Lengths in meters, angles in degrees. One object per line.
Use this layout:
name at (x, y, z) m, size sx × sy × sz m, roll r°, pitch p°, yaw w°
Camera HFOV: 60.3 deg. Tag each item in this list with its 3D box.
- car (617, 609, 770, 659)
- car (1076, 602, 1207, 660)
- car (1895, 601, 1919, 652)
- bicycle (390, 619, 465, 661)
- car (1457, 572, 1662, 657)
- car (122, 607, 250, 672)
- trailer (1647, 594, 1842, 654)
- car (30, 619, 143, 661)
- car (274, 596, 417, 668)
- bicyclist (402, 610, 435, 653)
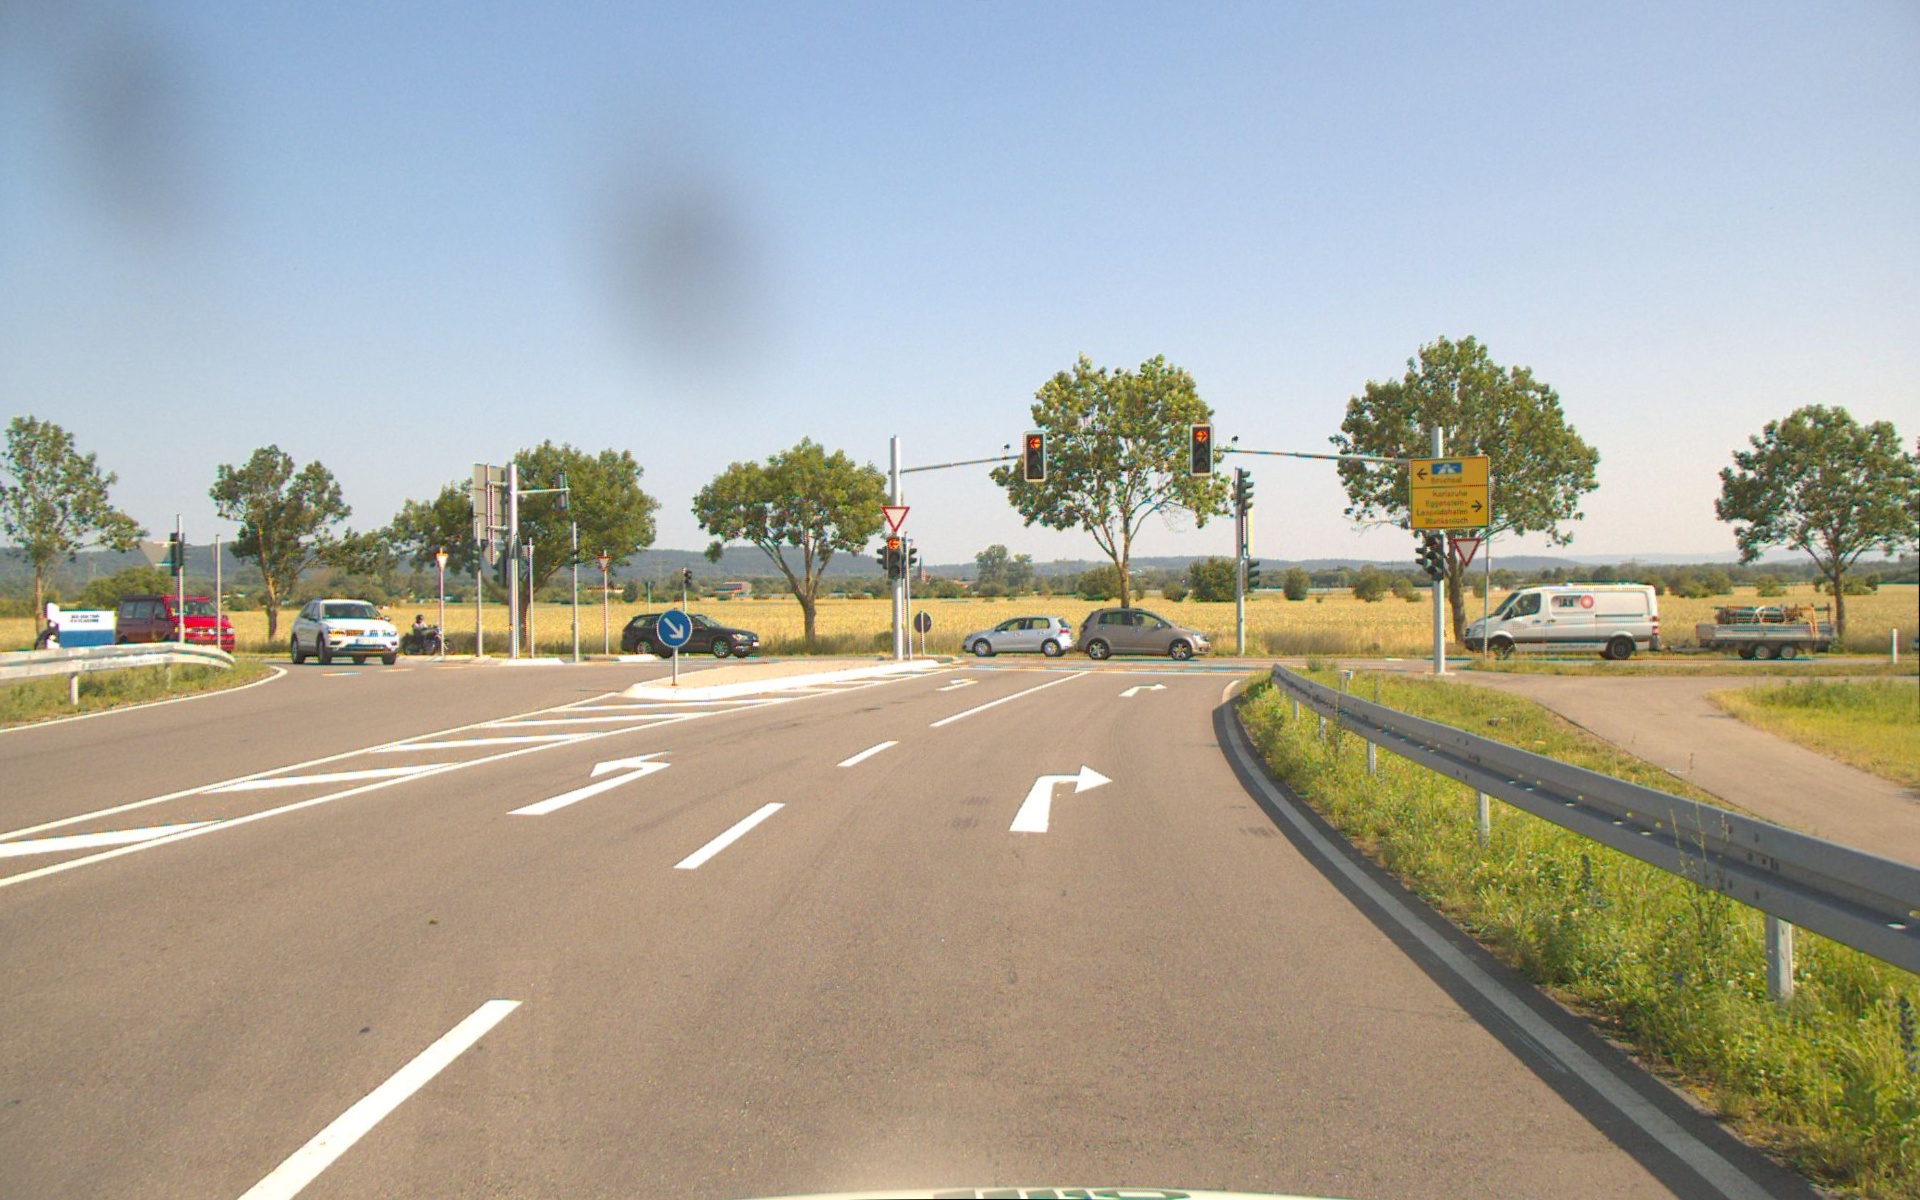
car at (-8.741, 1.110, 54.416) m, size 4.572 × 1.545 × 1.924 m, roll 0°, pitch 1°, yaw 11°
car at (5.647, 0.950, 51.237) m, size 3.870 × 1.697 × 1.765 m, roll 1°, pitch -1°, yaw 10°
car at (31.567, 0.855, 50.565) m, size 4.765 × 1.536 × 2.001 m, roll 1°, pitch -1°, yaw 7°
bicycle at (-19.025, 1.425, 59.104) m, size 2.438 × 1.421 × 0.733 m, roll 1°, pitch -1°, yaw 11°
car at (18.947, 0.461, 52.519) m, size 5.830 × 2.536 × 2.002 m, roll 1°, pitch -1°, yaw 10°
car at (-24.394, 1.244, 52.086) m, size 4.836 × 1.974 × 1.829 m, roll -1°, pitch -2°, yaw 41°
trailer at (24.333, 0.751, 51.491) m, size 5.148 × 1.784 × 1.955 m, roll 0°, pitch -1°, yaw 10°
car at (-33.221, 1.526, 62.929) m, size 3.649 × 1.482 × 1.729 m, roll -1°, pitch 0°, yaw 19°
car at (-15.745, 0.870, 42.263) m, size 1.684 × 1.703 × 4.785 m, roll 3°, pitch -4°, yaw -43°
bicyclist at (-19.364, 1.128, 59.167) m, size 0.791 × 1.515 × 0.758 m, roll 1°, pitch -1°, yaw 12°
